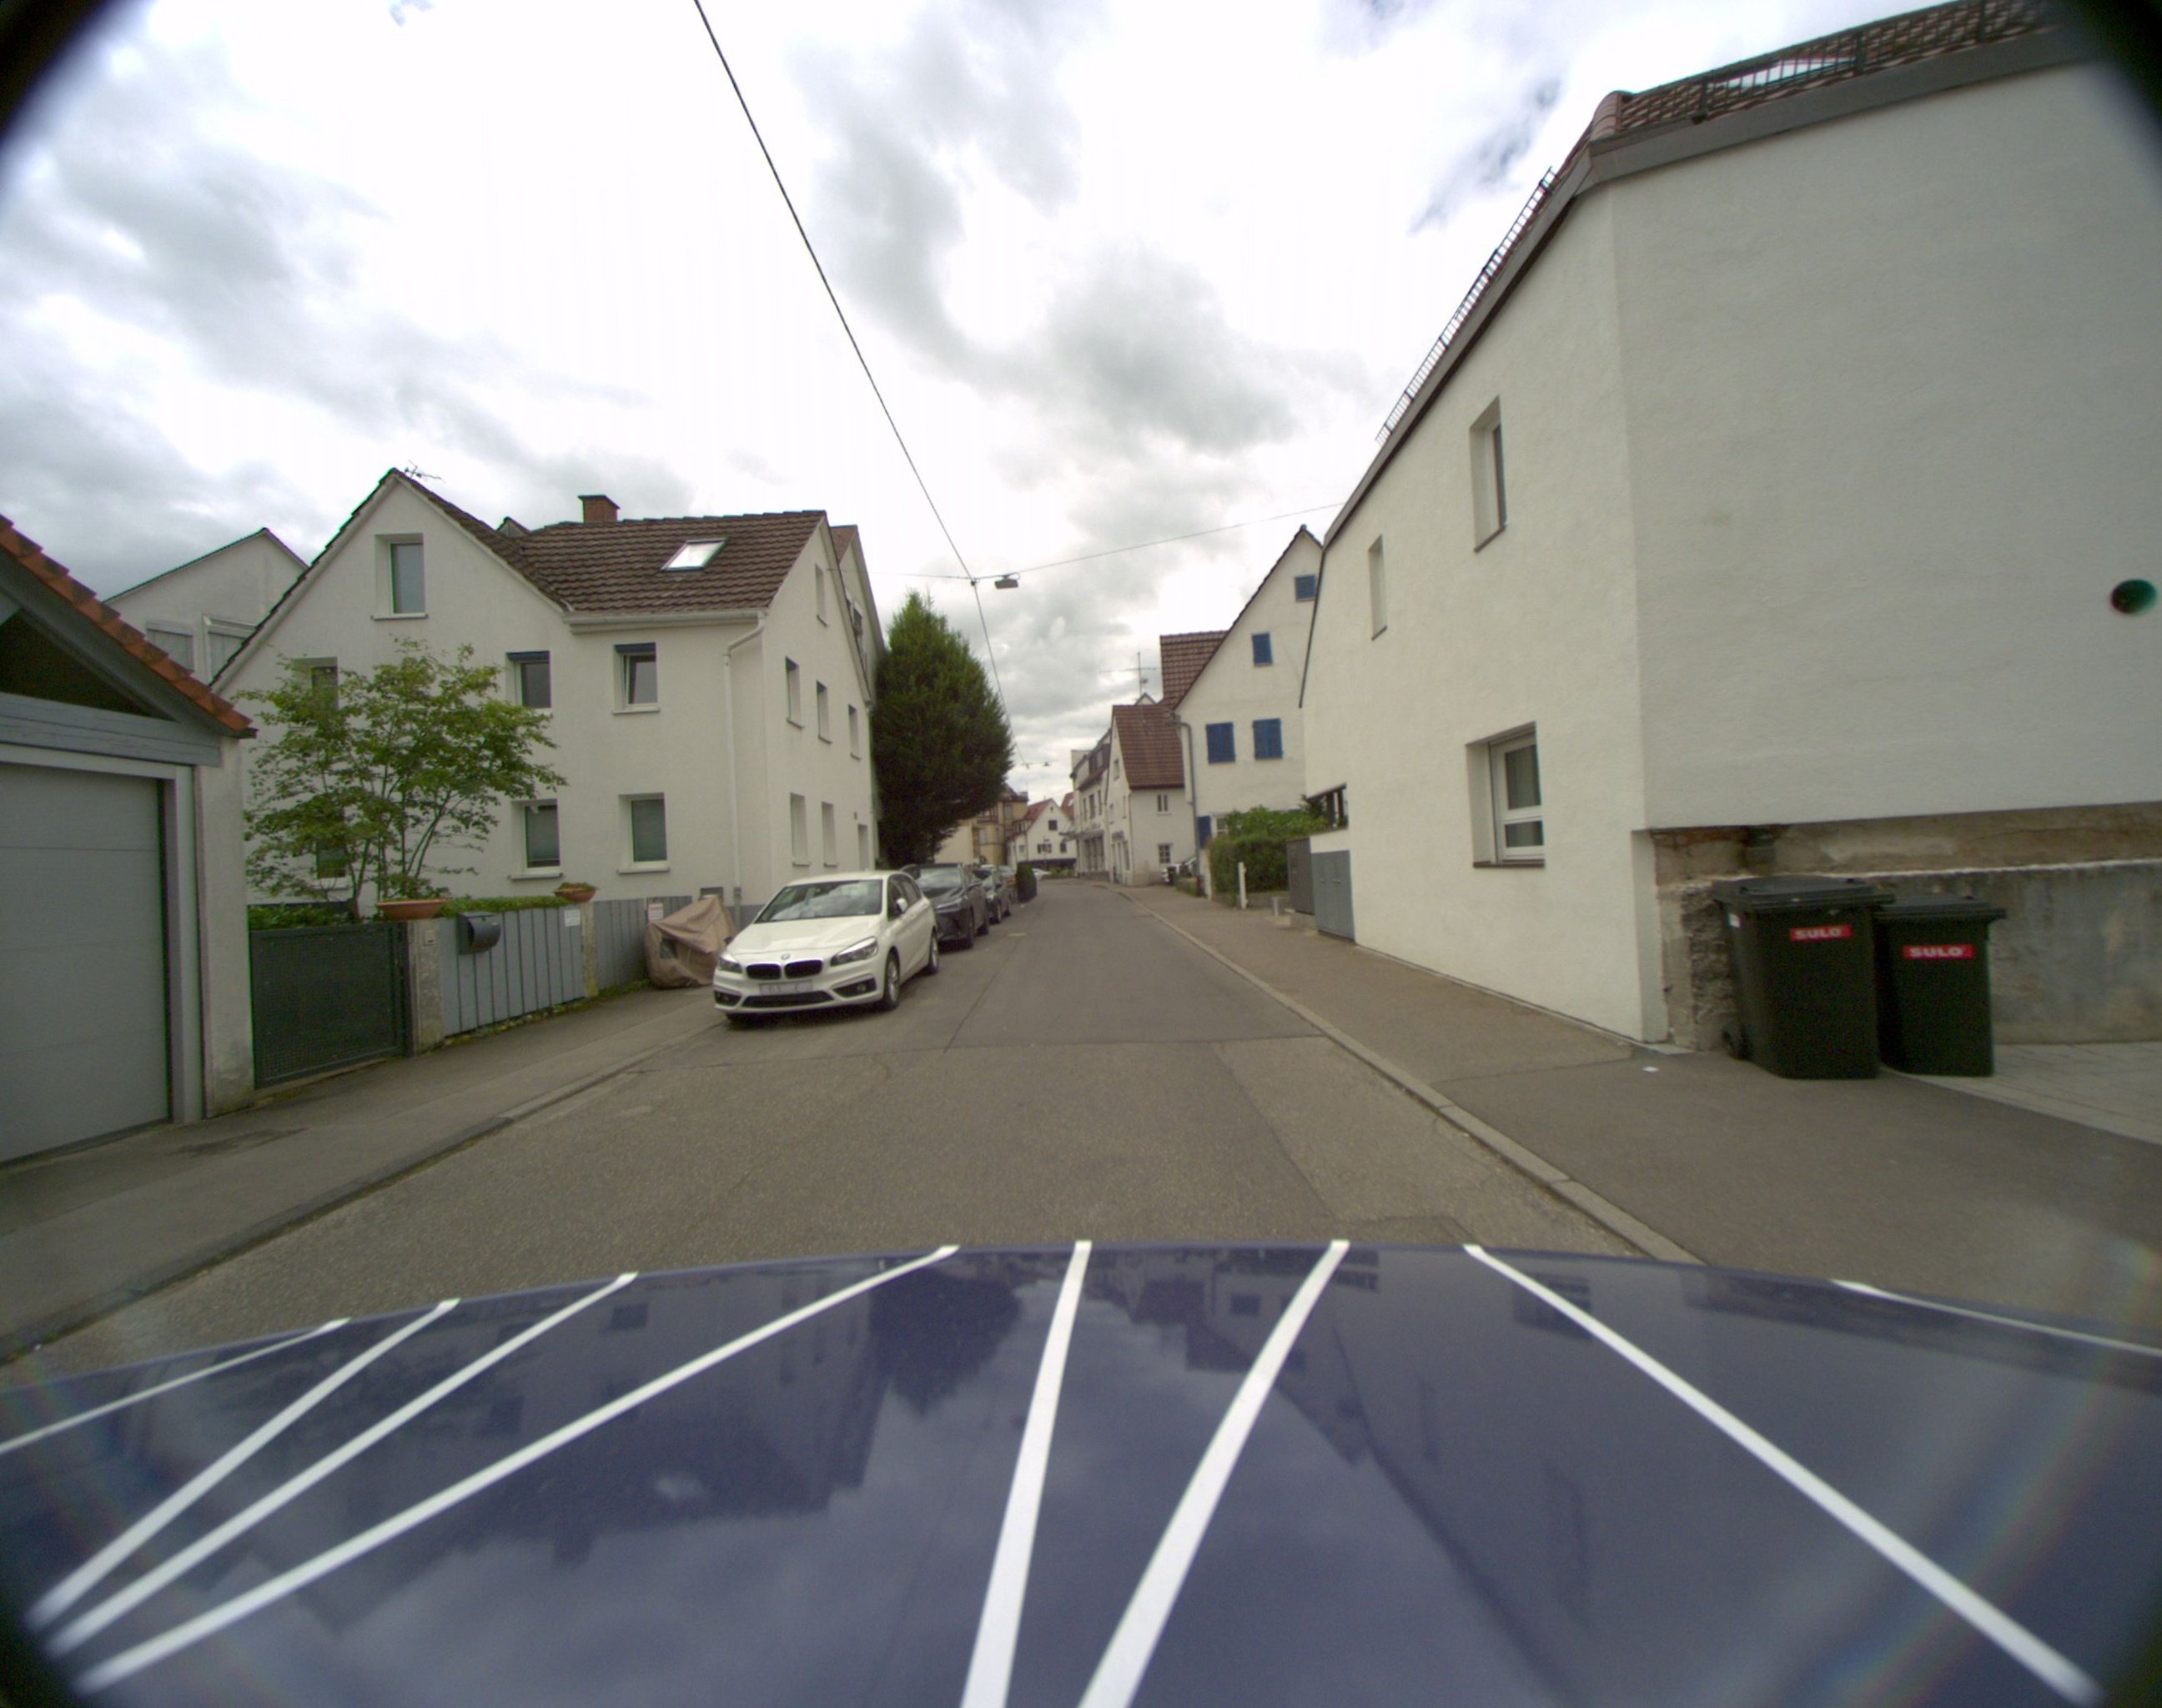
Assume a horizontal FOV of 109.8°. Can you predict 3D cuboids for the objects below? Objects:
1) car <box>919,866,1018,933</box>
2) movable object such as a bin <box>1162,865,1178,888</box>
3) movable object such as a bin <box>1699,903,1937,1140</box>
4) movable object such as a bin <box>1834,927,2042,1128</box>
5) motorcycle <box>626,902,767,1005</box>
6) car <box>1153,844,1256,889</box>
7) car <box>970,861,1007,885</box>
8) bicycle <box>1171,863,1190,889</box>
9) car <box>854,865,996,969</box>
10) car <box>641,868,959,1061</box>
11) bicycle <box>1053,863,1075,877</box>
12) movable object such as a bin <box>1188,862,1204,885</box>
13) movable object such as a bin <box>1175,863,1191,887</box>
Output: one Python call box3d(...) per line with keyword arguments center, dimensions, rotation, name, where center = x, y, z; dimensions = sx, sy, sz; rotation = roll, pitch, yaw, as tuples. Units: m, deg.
box3d(center=(-3.014, 1.185, 21.394), dimensions=(1.953, 1.499, 4.820), rotation=(-3, 0, 0), name="car")
box3d(center=(4.017, 1.017, 34.298), dimensions=(0.554, 0.993, 0.587), rotation=(-8, -3, 10), name="movable object such as a bin")
box3d(center=(3.909, 0.853, 4.102), dimensions=(0.615, 1.069, 0.753), rotation=(-5, 1, 21), name="movable object such as a bin")
box3d(center=(4.454, 0.880, 3.989), dimensions=(0.450, 0.900, 0.572), rotation=(-6, 0, 21), name="movable object such as a bin")
box3d(center=(-5.475, 1.371, 11.021), dimensions=(0.820, 1.166, 2.170), rotation=(-2, 1, 2), name="motorcycle")
box3d(center=(6.043, 0.591, 37.447), dimensions=(4.550, 1.492, 1.976), rotation=(-8, 3, -6), name="car")
box3d(center=(-7.550, 1.580, 61.874), dimensions=(1.833, 1.781, 4.212), rotation=(-3, -1, -23), name="car")
box3d(center=(4.337, 0.932, 33.058), dimensions=(0.443, 1.032, 2.095), rotation=(-7, -2, 13), name="bicycle")
box3d(center=(-2.928, 1.108, 15.412), dimensions=(1.868, 1.623, 4.900), rotation=(-3, 0, -1), name="car")
box3d(center=(-3.019, 1.082, 9.527), dimensions=(1.998, 1.606, 4.879), rotation=(-4, 0, 1), name="car")
box3d(center=(-1.618, 1.516, 72.476), dimensions=(1.983, 1.232, 0.743), rotation=(-3, -2, -27), name="bicycle")
box3d(center=(5.194, 0.878, 34.308), dimensions=(0.556, 0.994, 0.623), rotation=(-9, -2, 9), name="movable object such as a bin")
box3d(center=(4.614, 0.950, 34.429), dimensions=(0.570, 0.993, 0.600), rotation=(-8, -3, 8), name="movable object such as a bin")
